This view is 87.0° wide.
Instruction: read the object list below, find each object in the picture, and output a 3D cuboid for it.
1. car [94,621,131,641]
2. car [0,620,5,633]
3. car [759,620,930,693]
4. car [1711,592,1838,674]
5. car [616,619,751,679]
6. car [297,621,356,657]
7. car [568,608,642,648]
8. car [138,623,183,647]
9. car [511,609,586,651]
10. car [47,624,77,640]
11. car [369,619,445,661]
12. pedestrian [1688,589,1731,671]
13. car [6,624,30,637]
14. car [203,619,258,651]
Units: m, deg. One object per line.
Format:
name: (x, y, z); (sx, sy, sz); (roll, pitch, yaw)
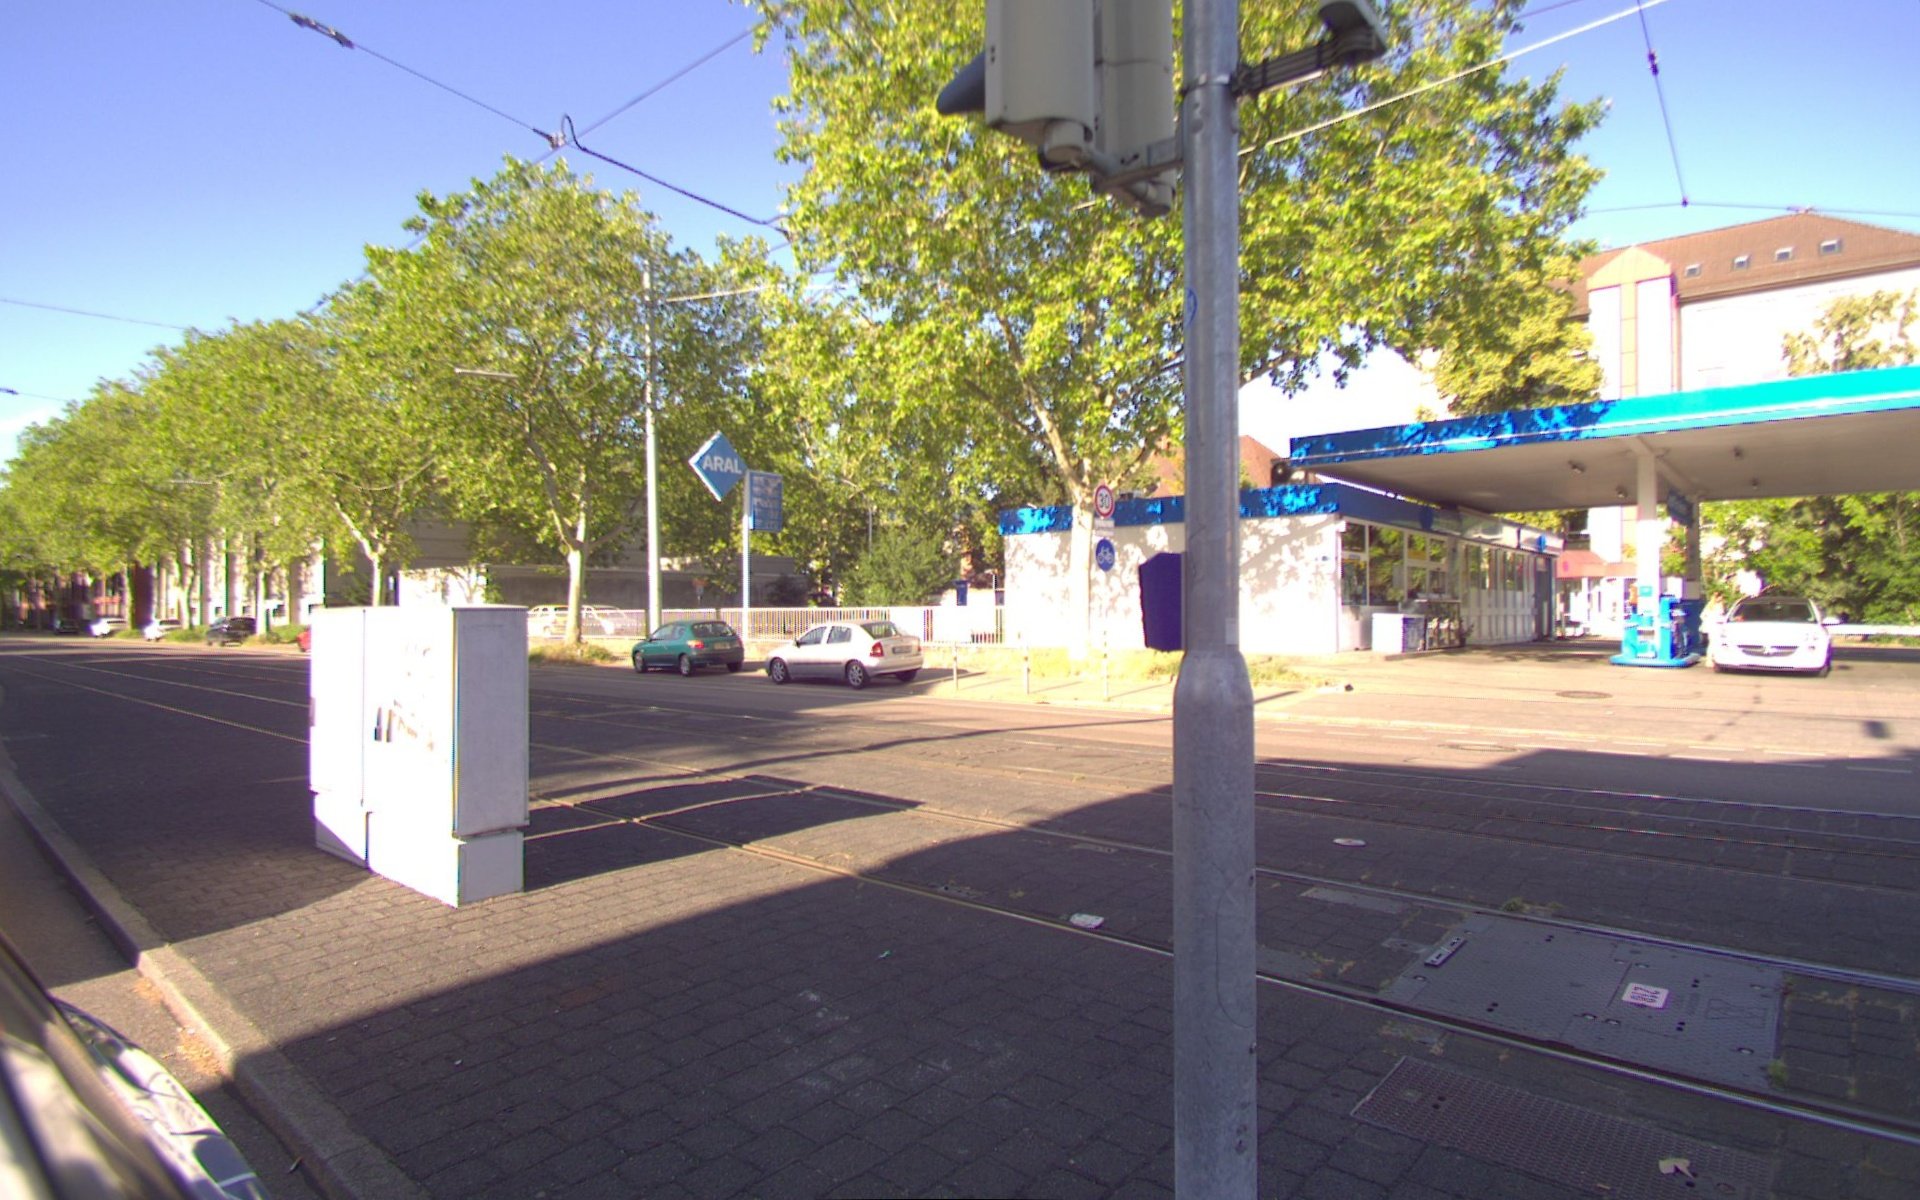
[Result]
car: (-66.684, 2.452, 79.586); (3.748, 1.459, 1.674); (-1, 1, 41)
car: (-133.942, 3.688, 140.444); (3.748, 1.798, 1.674); (-1, 1, 41)
car: (-2.636, 1.207, 22.630); (3.812, 1.413, 1.674); (-1, 1, 41)
car: (15.887, 0.611, 19.685); (1.757, 1.453, 3.521); (-1, -1, 41)
car: (-7.400, 1.268, 26.958); (3.748, 1.413, 1.674); (-1, 1, 41)
car: (-28.688, 1.759, 45.814); (2.621, 1.519, 1.579); (-1, 1, 41)
car: (-15.267, 1.198, 43.433); (3.303, 1.604, 1.579); (-1, 0, 41)
car: (-53.865, 2.348, 68.160); (3.748, 1.459, 1.674); (-1, 1, 41)
car: (-17.086, 1.233, 41.956); (3.303, 1.628, 1.579); (-1, 0, 41)
car: (-85.246, 3.037, 96.021); (3.748, 1.459, 1.674); (-1, 1, 41)
car: (-21.878, 1.561, 39.987); (3.303, 1.519, 1.579); (-1, 1, 41)
pedestrian: (16.044, 0.644, 21.658); (0.493, 1.714, 0.649); (1, -2, -45)
car: (-112.148, 3.572, 120.480); (3.748, 1.459, 1.674); (-1, 1, 41)
car: (-40.679, 1.944, 56.436); (3.748, 1.670, 1.674); (-1, 1, 41)
